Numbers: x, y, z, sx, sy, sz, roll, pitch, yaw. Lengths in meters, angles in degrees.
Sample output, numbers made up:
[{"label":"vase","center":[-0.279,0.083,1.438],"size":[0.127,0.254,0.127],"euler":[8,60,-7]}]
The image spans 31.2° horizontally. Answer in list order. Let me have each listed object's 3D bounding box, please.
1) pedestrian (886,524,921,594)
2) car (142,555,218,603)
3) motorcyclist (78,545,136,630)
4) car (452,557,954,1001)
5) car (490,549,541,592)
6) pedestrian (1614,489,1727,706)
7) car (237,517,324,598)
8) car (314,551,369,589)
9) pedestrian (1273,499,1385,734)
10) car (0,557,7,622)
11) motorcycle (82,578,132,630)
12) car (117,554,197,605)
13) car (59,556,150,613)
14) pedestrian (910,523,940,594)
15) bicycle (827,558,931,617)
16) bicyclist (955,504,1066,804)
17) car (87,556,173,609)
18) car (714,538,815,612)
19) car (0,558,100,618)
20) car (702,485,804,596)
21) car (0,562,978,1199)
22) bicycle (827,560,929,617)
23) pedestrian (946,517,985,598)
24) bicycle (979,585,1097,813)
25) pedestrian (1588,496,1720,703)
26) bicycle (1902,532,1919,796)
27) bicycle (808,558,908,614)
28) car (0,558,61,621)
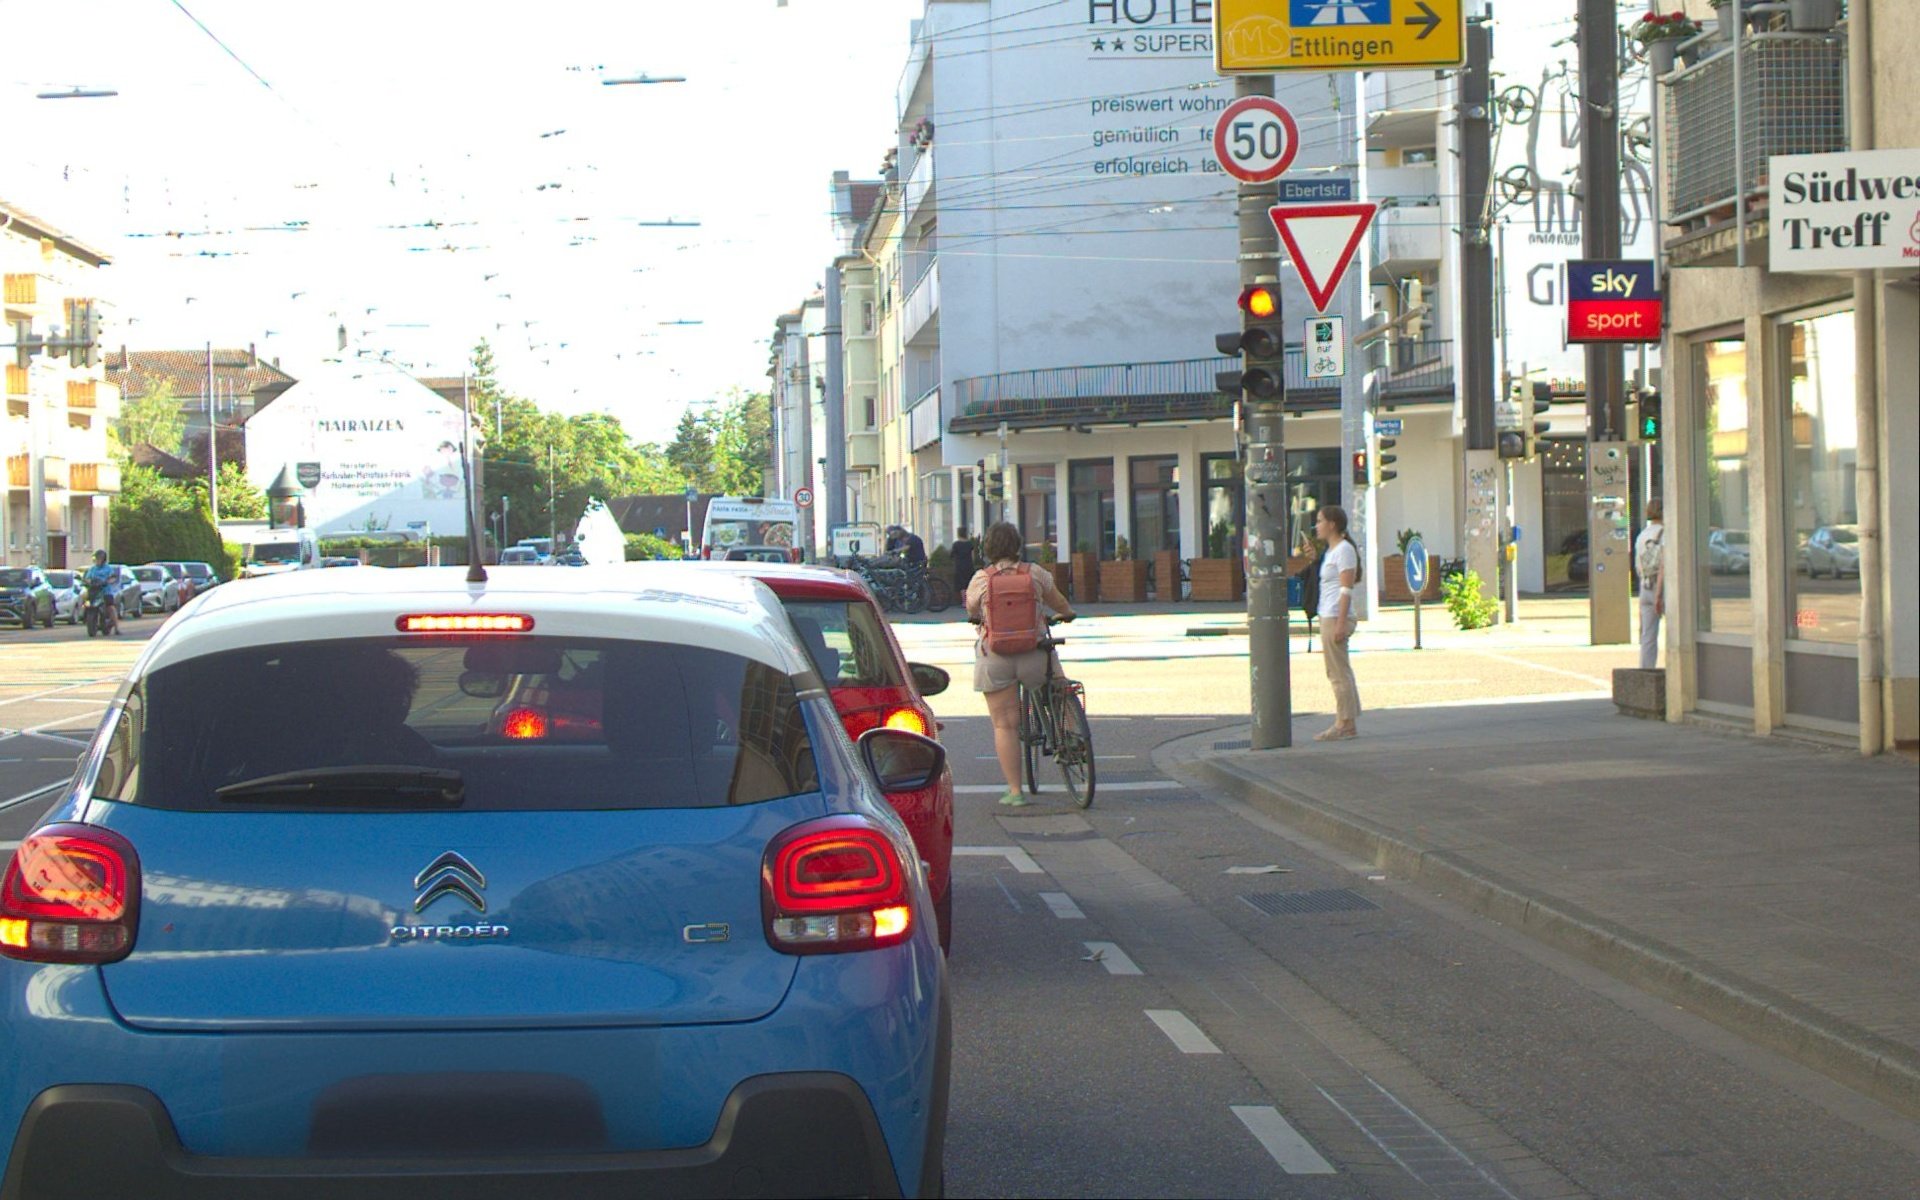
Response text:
[{"label":"pedestrian","center":[-1.151,-0.845,70.257],"size":[0.525,1.415,0.546],"euler":[-1,1,20]},{"label":"car","center":[-26.069,-0.723,114.996],"size":[1.950,1.514,4.001],"euler":[-1,1,-6]},{"label":"motorcyclist","center":[-16.673,-0.252,67.211],"size":[0.991,1.625,0.739],"euler":[-1,1,-9]},{"label":"car","center":[-1.001,0.581,13.583],"size":[1.680,1.457,4.001],"euler":[0,1,-4]},{"label":"car","center":[-22.048,-1.505,170.838],"size":[2.338,2.032,5.051],"euler":[-1,1,-6]},{"label":"pedestrian","center":[5.492,-0.026,26.554],"size":[0.738,1.642,0.753],"euler":[-1,1,19]},{"label":"car","center":[-23.662,-1.506,119.933],"size":[2.493,2.703,5.839],"euler":[-1,1,-7]},{"label":"car","center":[-25.978,-1.283,144.566],"size":[1.950,1.514,4.001],"euler":[-1,1,-6]},{"label":"pedestrian","center":[2.612,0.110,24.374],"size":[0.751,1.629,0.740],"euler":[-1,1,6]},{"label":"car","center":[-23.319,-0.194,79.222],"size":[1.950,1.514,4.001],"euler":[-1,1,-6]},{"label":"motorcycle","center":[-16.692,0.073,67.284],"size":[0.751,0.973,2.098],"euler":[-1,1,-9]},{"label":"car","center":[-25.359,-0.674,108.654],"size":[1.950,1.514,4.001],"euler":[-1,1,-6]},{"label":"car","center":[-24.458,-0.459,98.372],"size":[1.950,1.514,4.001],"euler":[-1,1,-6]},{"label":"pedestrian","center":[-0.718,-0.847,70.005],"size":[0.467,1.415,0.527],"euler":[-1,1,-13]},{"label":"bicycle","center":[-1.556,-0.242,65.813],"size":[1.904,1.061,0.642],"euler":[-1,1,-7]},{"label":"bicyclist","center":[0.295,0.306,20.598],"size":[0.600,1.740,1.084],"euler":[-1,1,-1]},{"label":"car","center":[-24.926,-0.543,103.375],"size":[1.950,1.514,4.001],"euler":[-1,1,-6]},{"label":"car","center":[-3.880,-0.515,67.804],"size":[1.786,1.354,3.915],"euler":[-1,1,-6]},{"label":"car","center":[-24.305,-0.337,91.945],"size":[1.950,1.514,4.001],"euler":[-1,1,-6]},{"label":"car","center":[-4.430,-1.277,73.239],"size":[2.079,2.262,5.652],"euler":[0,1,-4]},{"label":"car","center":[-0.954,0.673,7.374],"size":[1.680,1.457,4.001],"euler":[0,1,-4]},{"label":"bicycle","center":[-1.605,-0.236,67.119],"size":[1.904,1.061,0.642],"euler":[-1,1,-7]},{"label":"pedestrian","center":[0.112,-0.868,70.129],"size":[0.553,1.642,0.538],"euler":[-2,1,-44]},{"label":"bicycle","center":[0.452,0.563,20.641],"size":[0.613,1.260,1.911],"euler":[-1,1,-1]},{"label":"pedestrian","center":[5.618,-0.012,27.823],"size":[0.700,1.642,0.740],"euler":[-2,1,-36]},{"label":"bicycle","center":[4.918,0.316,15.752],"size":[0.640,1.260,1.911],"euler":[-1,1,-1]},{"label":"bicycle","center":[-2.024,-0.273,68.311],"size":[1.904,1.061,0.642],"euler":[-1,1,-7]},{"label":"car","center":[-23.785,-0.268,85.887],"size":[1.950,1.514,4.001],"euler":[-1,1,-6]}]
